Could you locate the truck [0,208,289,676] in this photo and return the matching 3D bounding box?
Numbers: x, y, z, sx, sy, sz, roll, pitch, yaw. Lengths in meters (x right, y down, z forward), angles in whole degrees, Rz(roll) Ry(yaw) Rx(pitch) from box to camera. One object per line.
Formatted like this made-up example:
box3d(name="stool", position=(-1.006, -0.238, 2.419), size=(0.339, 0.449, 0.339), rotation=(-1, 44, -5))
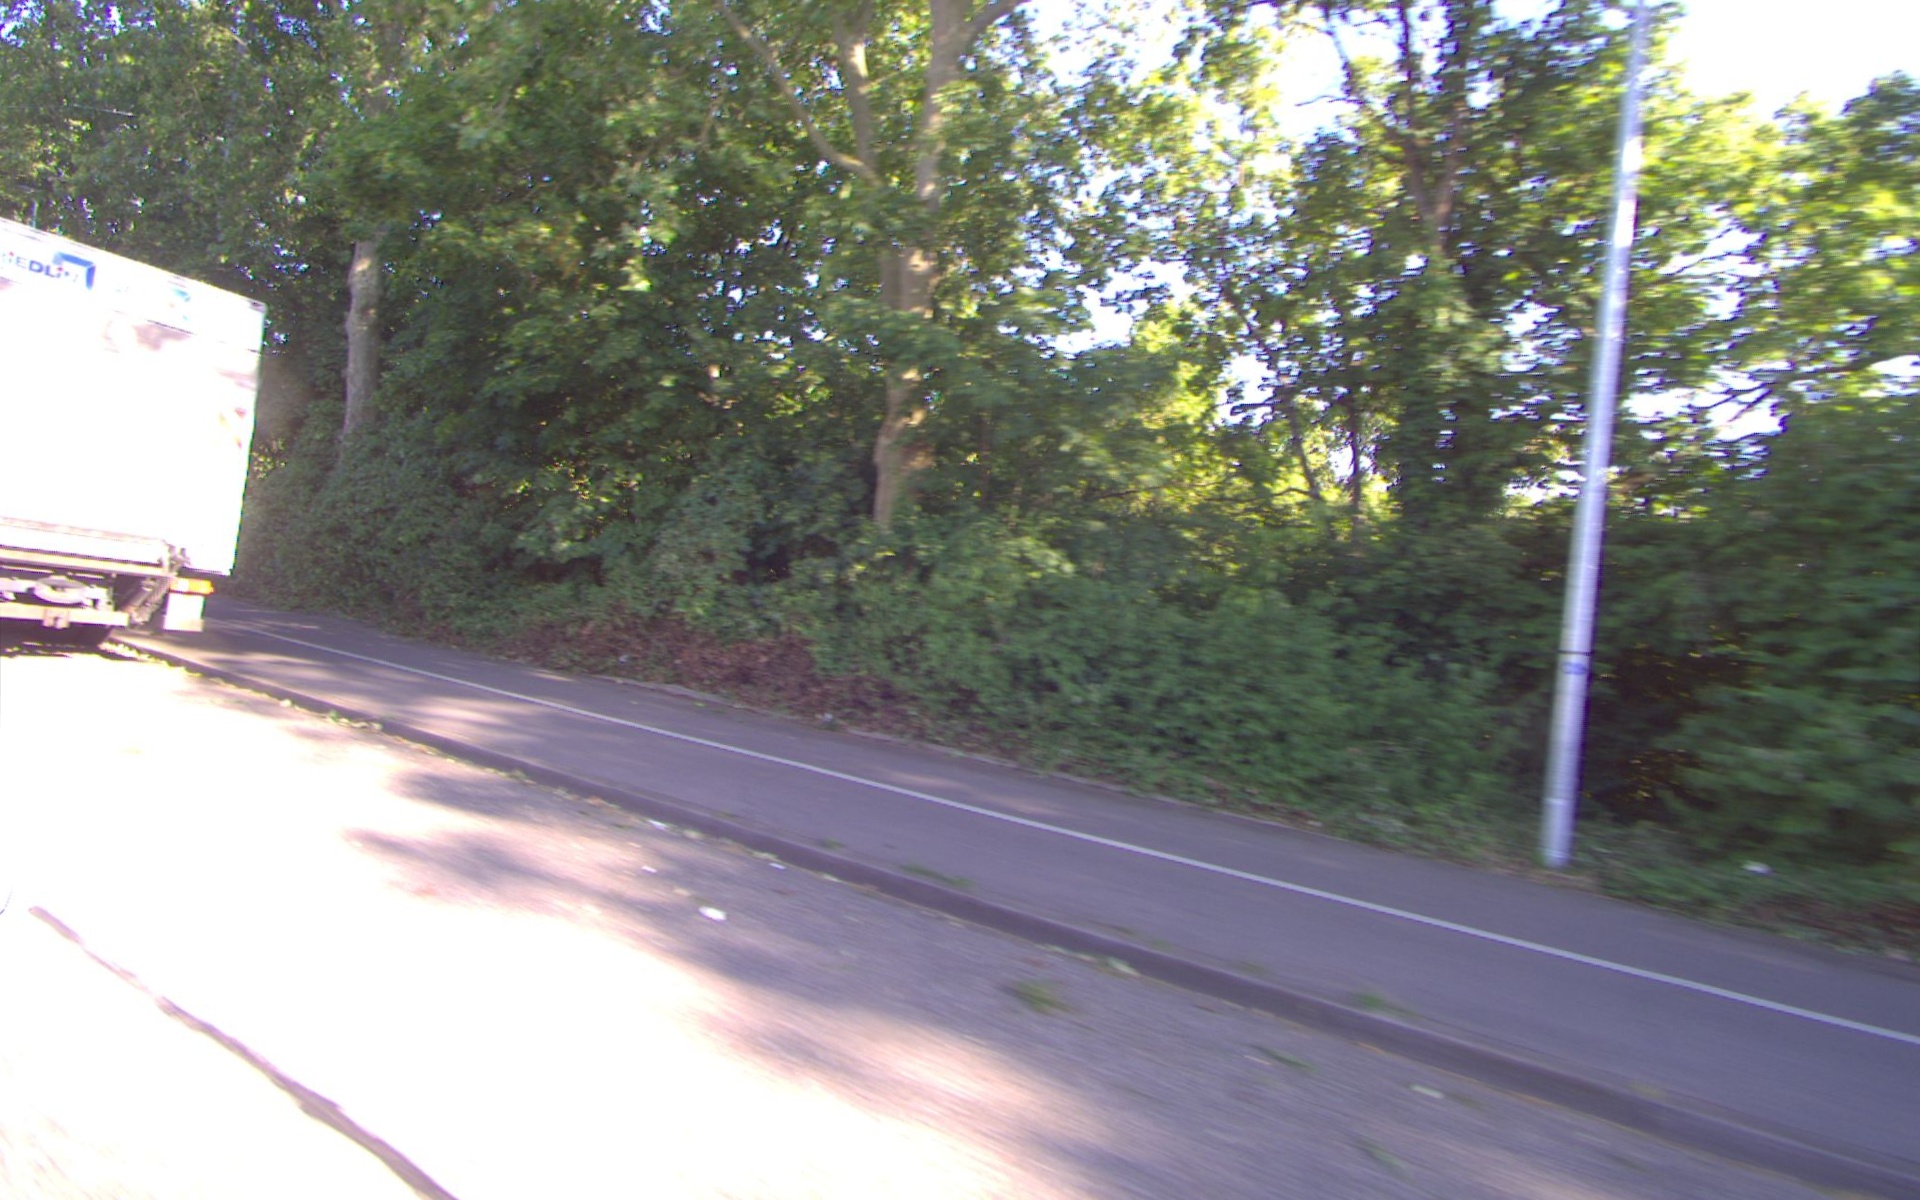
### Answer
box3d(name="truck", position=(-11.982, -1.748, 11.707), size=(9.922, 3.827, 2.747), rotation=(7, -2, 32))
